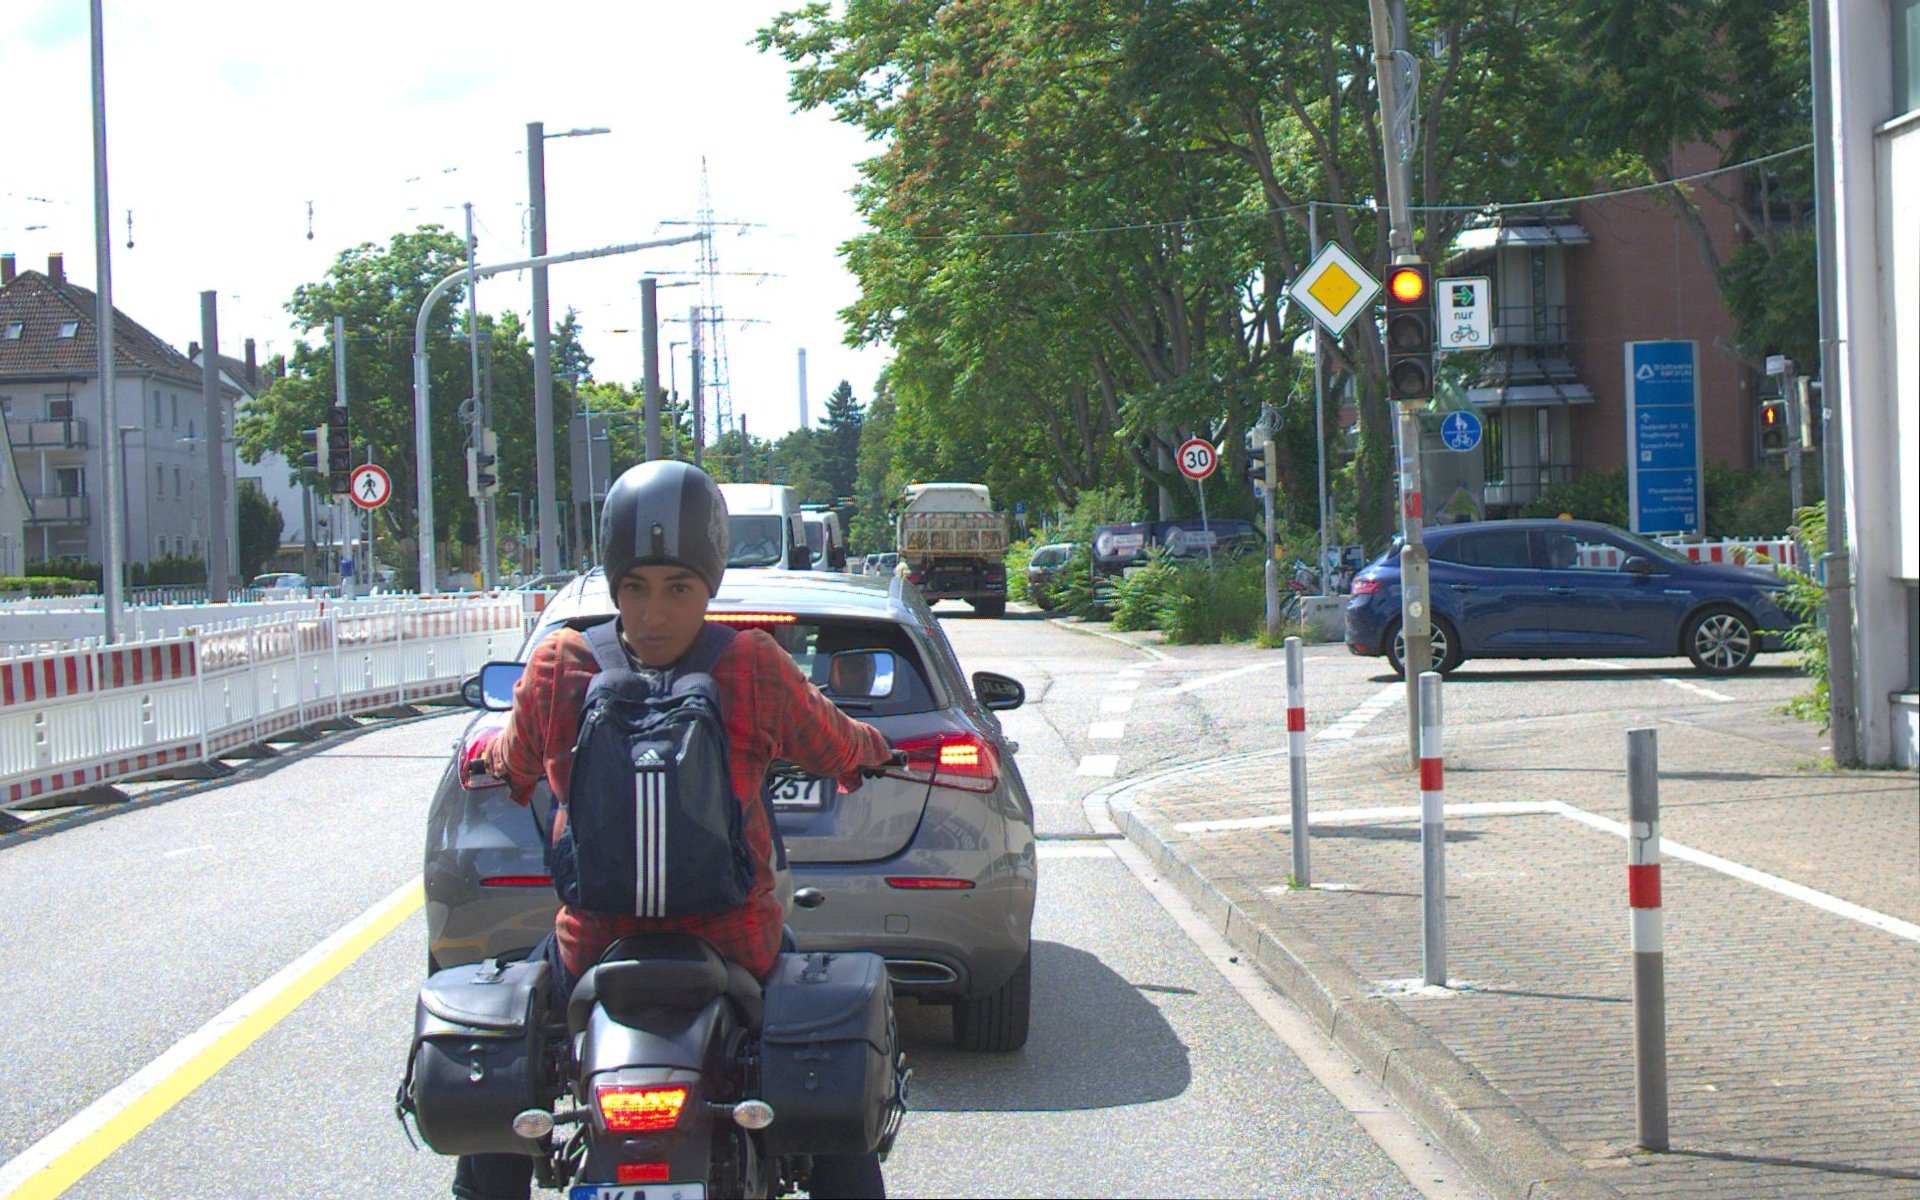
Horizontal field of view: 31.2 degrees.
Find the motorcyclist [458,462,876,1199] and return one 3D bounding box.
[{"bbox_3d":[-0.502,0.566,6.129,0.698,1.599,0.692,0,0,-1],"label":"motorcyclist"}]

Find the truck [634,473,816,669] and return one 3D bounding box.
[{"bbox_3d":[-3.203,-0.476,47.842,2.093,2.468,5.196,-3,2,0],"label":"truck"}]

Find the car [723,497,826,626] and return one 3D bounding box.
[{"bbox_3d":[-3.123,-0.644,58.487,1.589,2.135,3.627,0,0,0],"label":"car"}]

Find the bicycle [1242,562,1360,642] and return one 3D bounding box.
[{"bbox_3d":[4.988,0.032,50.393,1.708,1.168,0.438,0,0,4],"label":"bicycle"}]

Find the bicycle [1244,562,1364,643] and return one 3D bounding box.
[{"bbox_3d":[4.977,0.034,49.808,1.708,1.168,0.438,0,0,4],"label":"bicycle"}]

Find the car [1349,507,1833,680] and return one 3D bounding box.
[{"bbox_3d":[5.817,-0.066,31.590,4.257,1.493,1.649,-1,1,14],"label":"car"}]

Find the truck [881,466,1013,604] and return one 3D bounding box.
[{"bbox_3d":[-0.234,-1.508,82.884,2.967,3.162,7.764,0,0,1],"label":"truck"}]

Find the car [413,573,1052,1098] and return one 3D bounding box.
[{"bbox_3d":[-0.821,0.630,11.433,1.731,1.399,4.087,1,1,-6],"label":"car"}]

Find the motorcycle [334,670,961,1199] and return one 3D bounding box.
[{"bbox_3d":[-0.501,0.777,6.433,0.942,1.196,2.473,0,1,-1],"label":"motorcycle"}]

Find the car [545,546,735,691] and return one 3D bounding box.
[{"bbox_3d":[-3.445,0.185,37.656,1.744,1.432,4.084,-3,0,-1],"label":"car"}]

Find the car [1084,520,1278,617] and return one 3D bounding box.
[{"bbox_3d":[4.526,-0.635,70.041,1.802,1.919,3.990,0,0,44],"label":"car"}]

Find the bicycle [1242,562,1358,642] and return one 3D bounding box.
[{"bbox_3d":[5.058,0.028,51.210,1.708,1.168,0.438,0,0,4],"label":"bicycle"}]
